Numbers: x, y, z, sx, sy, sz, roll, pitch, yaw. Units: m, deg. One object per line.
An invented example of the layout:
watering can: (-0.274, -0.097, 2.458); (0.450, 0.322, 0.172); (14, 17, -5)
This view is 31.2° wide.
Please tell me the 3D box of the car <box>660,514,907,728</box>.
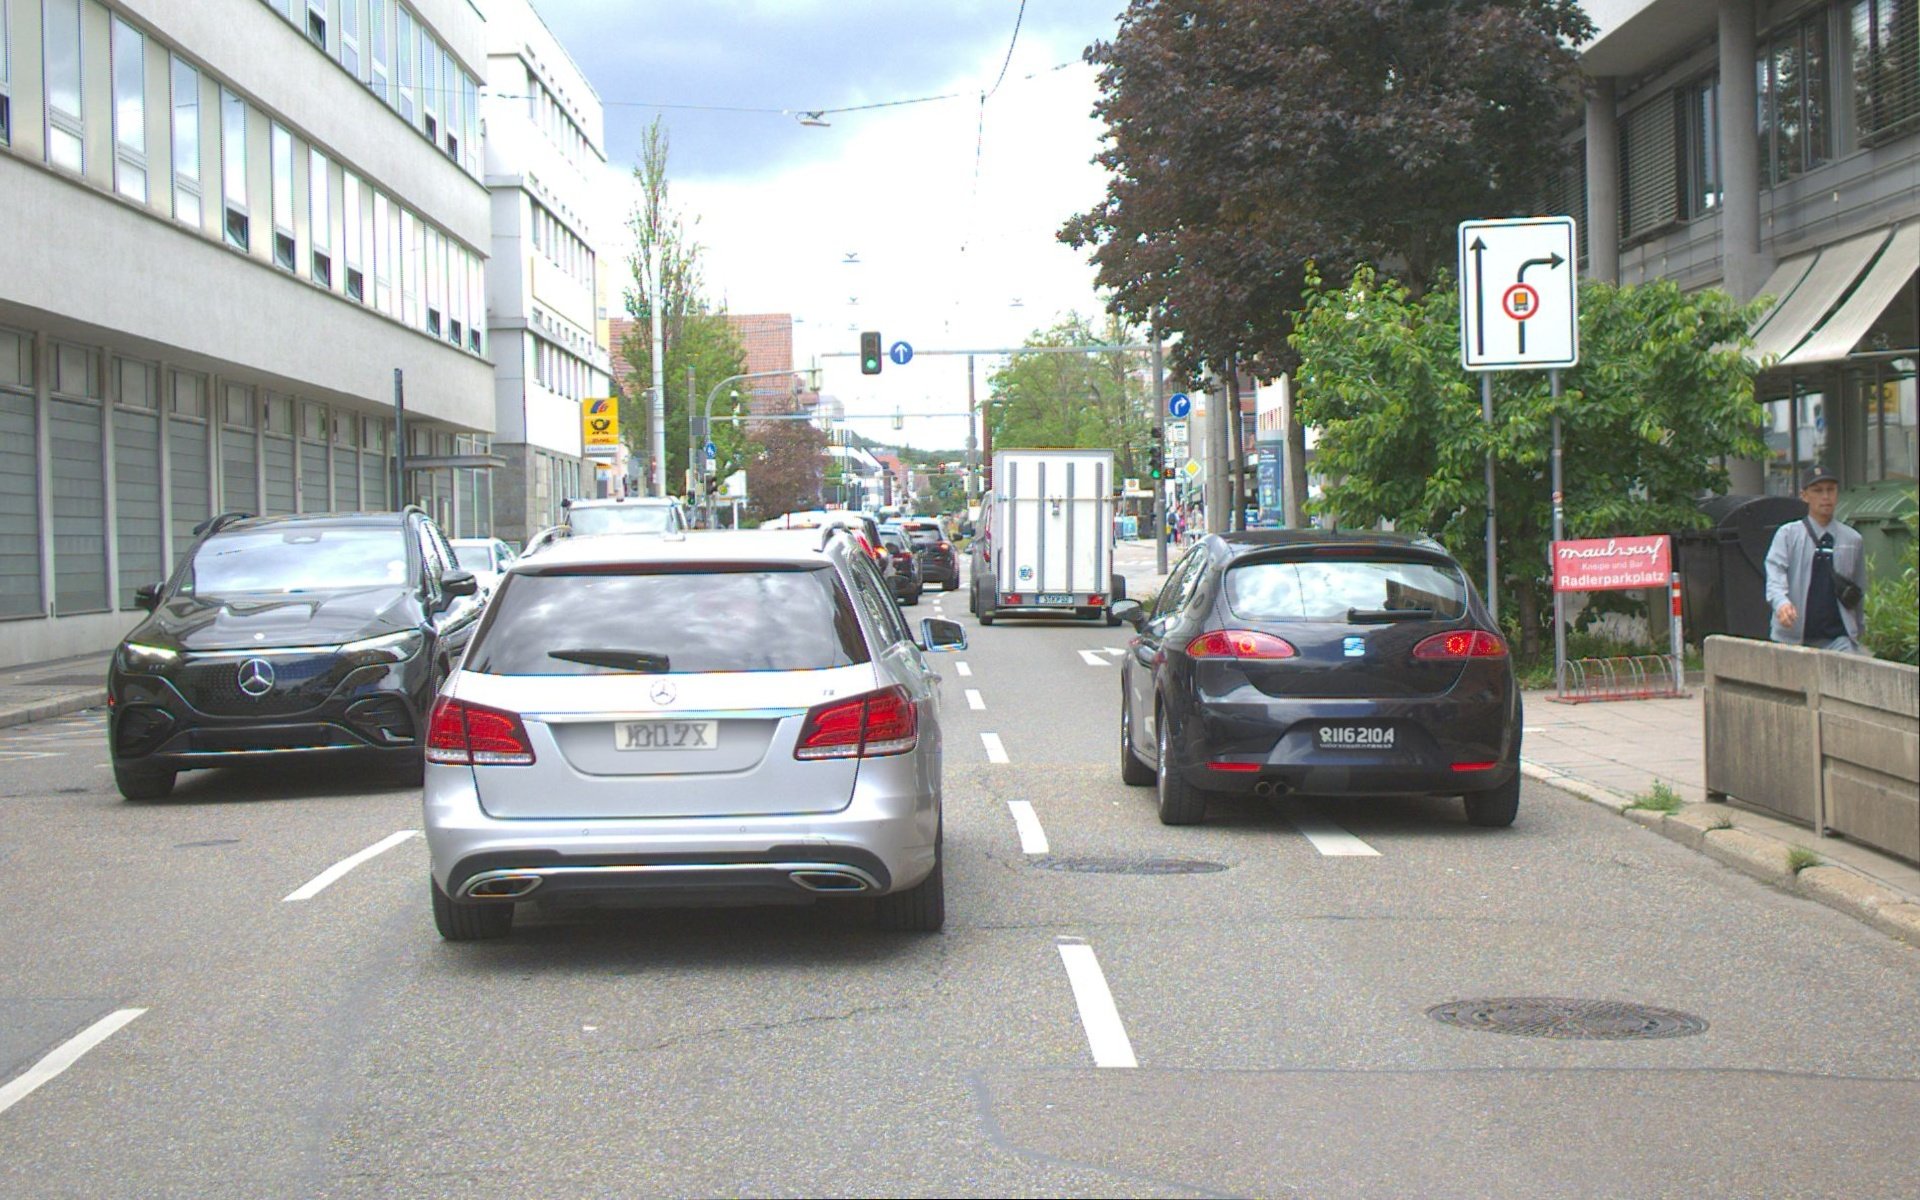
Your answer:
car: (-1.353, 0.108, 27.371); (1.803, 1.547, 3.738); (-1, 1, -1)

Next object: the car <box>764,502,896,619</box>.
car: (-1.817, -0.589, 48.863); (1.803, 1.596, 3.738); (0, 1, -1)

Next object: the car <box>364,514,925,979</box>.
car: (-1.078, 0.432, 13.139); (1.803, 1.487, 3.738); (-1, 1, -1)

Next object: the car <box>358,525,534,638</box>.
car: (-7.427, -0.302, 50.048); (1.993, 1.511, 4.175); (-1, 1, -1)

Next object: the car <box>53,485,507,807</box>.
car: (-4.161, 0.202, 21.799); (1.993, 1.733, 4.554); (-3, 1, -1)

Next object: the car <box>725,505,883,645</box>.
car: (-1.831, -0.336, 41.149); (1.803, 1.596, 3.738); (0, 1, -1)

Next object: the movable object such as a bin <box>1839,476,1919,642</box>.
movable object such as a bin: (8.664, -0.384, 31.759); (0.821, 1.485, 0.732); (-4, 0, 1)

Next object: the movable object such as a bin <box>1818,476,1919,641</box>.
movable object such as a bin: (8.661, -0.393, 32.516); (0.821, 1.499, 0.732); (-4, 0, 1)

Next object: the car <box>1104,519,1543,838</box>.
car: (1.760, 0.318, 17.778); (1.765, 1.428, 3.829); (-1, 2, -1)

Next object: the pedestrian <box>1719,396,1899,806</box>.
pedestrian: (4.260, -0.001, 17.276); (0.693, 2.007, 0.677); (-1, 1, -2)

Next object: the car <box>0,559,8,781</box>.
car: (-8.219, 0.479, 20.809); (4.398, 1.361, 1.786); (-2, 2, -30)

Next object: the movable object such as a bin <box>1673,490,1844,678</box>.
movable object such as a bin: (6.574, -0.143, 28.366); (0.943, 1.465, 1.446); (-3, 1, -3)

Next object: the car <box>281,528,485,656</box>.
car: (-7.378, -0.144, 44.344); (1.993, 1.511, 4.175); (-1, 1, -1)

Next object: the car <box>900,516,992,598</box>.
car: (-0.307, -0.892, 69.677); (1.803, 1.596, 3.738); (0, 1, -1)

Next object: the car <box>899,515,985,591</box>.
car: (-0.421, -1.046, 75.002); (1.803, 1.596, 3.738); (0, 1, -1)

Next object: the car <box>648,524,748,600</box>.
car: (-5.288, -0.796, 69.804); (1.769, 1.408, 4.175); (-2, 1, -1)

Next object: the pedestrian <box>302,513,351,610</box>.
pedestrian: (-10.649, -0.653, 57.841); (0.656, 1.617, 0.681); (-1, 1, 0)

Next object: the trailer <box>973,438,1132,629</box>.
trailer: (1.291, -0.988, 50.265); (1.993, 2.598, 5.350); (-1, 1, -1)

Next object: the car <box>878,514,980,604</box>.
car: (-0.600, -0.778, 62.831); (1.803, 1.596, 3.738); (0, 1, -1)

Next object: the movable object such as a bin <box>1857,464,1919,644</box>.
movable object such as a bin: (8.642, -0.429, 31.002); (0.821, 1.584, 0.732); (-4, 0, 1)

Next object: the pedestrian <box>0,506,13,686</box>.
pedestrian: (-9.775, -0.037, 33.863); (0.642, 1.763, 0.810); (-1, 1, -1)

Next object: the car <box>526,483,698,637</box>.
car: (-4.931, -0.606, 49.309); (1.993, 2.006, 4.903); (-3, 1, -1)

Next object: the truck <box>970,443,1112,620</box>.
truck: (1.219, -1.066, 53.027); (1.993, 2.598, 3.261); (-1, 1, -1)
